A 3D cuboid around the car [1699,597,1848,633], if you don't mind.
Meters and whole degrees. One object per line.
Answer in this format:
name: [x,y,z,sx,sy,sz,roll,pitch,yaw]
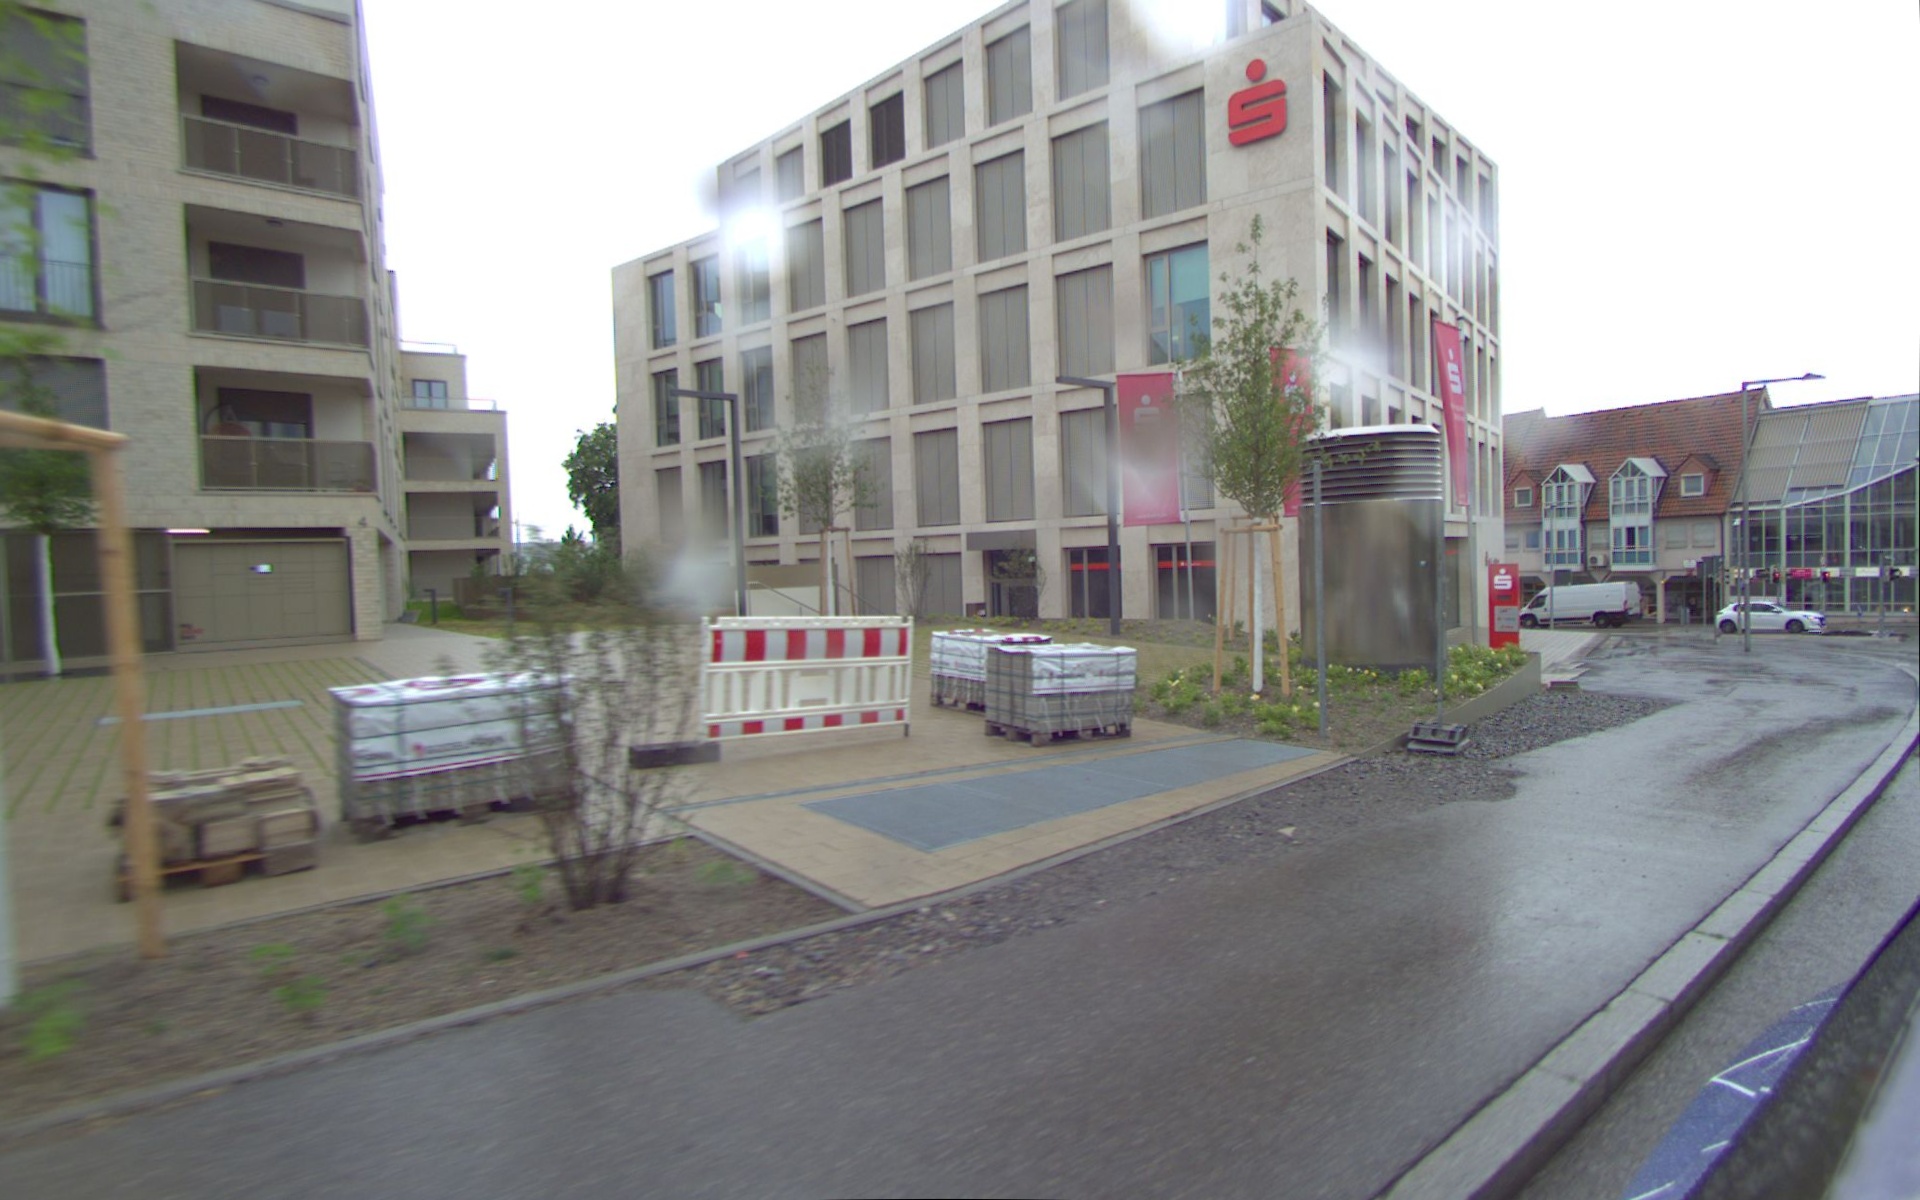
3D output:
car: [37.532,0.647,46.832,1.962,1.565,5.033,0,0,-35]
